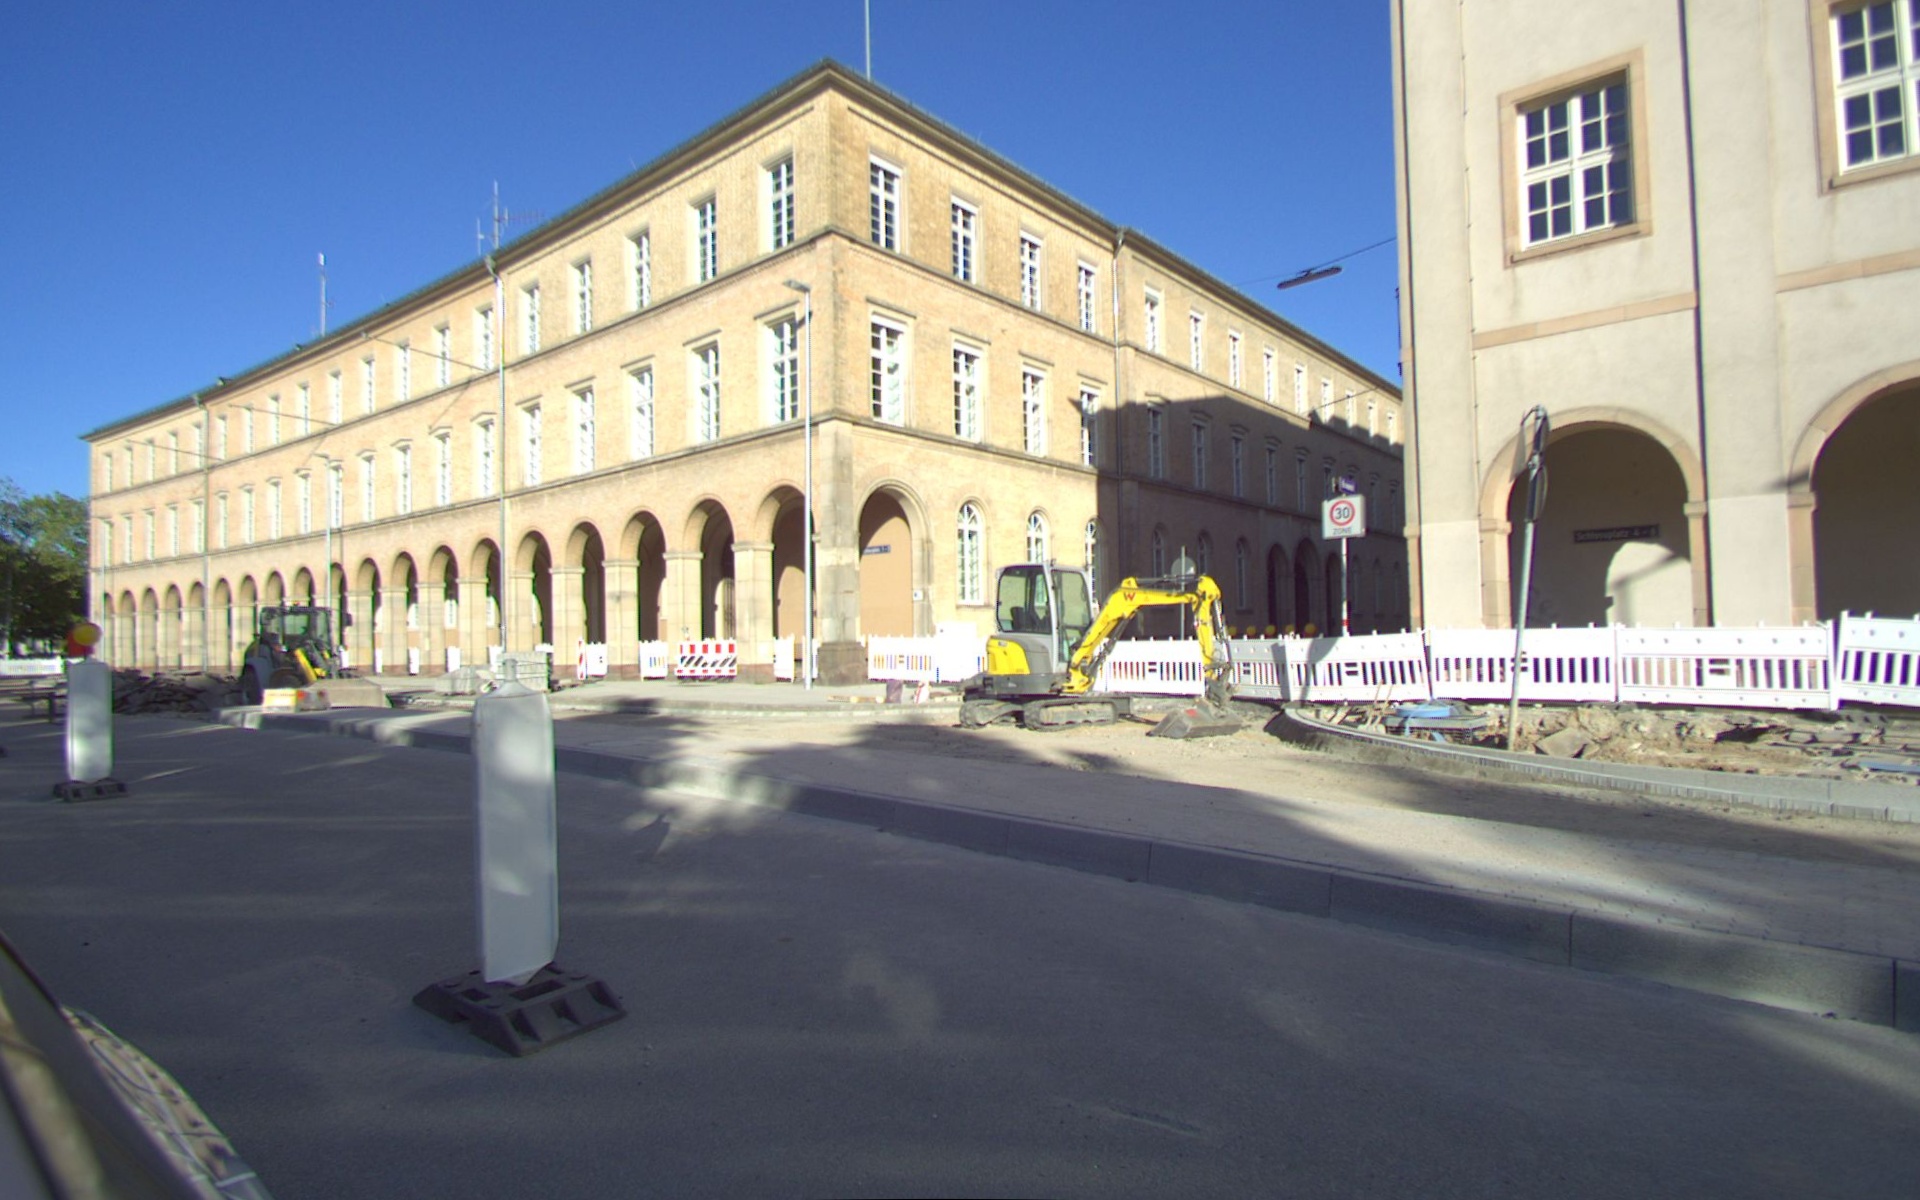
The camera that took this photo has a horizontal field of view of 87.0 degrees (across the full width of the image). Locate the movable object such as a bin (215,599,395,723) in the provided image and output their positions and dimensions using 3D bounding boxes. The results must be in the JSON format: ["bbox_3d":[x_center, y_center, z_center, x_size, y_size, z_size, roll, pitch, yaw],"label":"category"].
[{"bbox_3d":[-14.447,1.332,22.250,4.527,2.472,1.774,-3,-4,36],"label":"movable object such as a bin"}]

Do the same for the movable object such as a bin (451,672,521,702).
[{"bbox_3d":[-12.036,2.200,25.694,1.238,0.703,1.176,-3,-4,37],"label":"movable object such as a bin"}]

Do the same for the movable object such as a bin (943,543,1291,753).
[{"bbox_3d":[2.042,0.657,13.904,4.308,2.414,2.076,-2,-4,43],"label":"movable object such as a bin"}]
